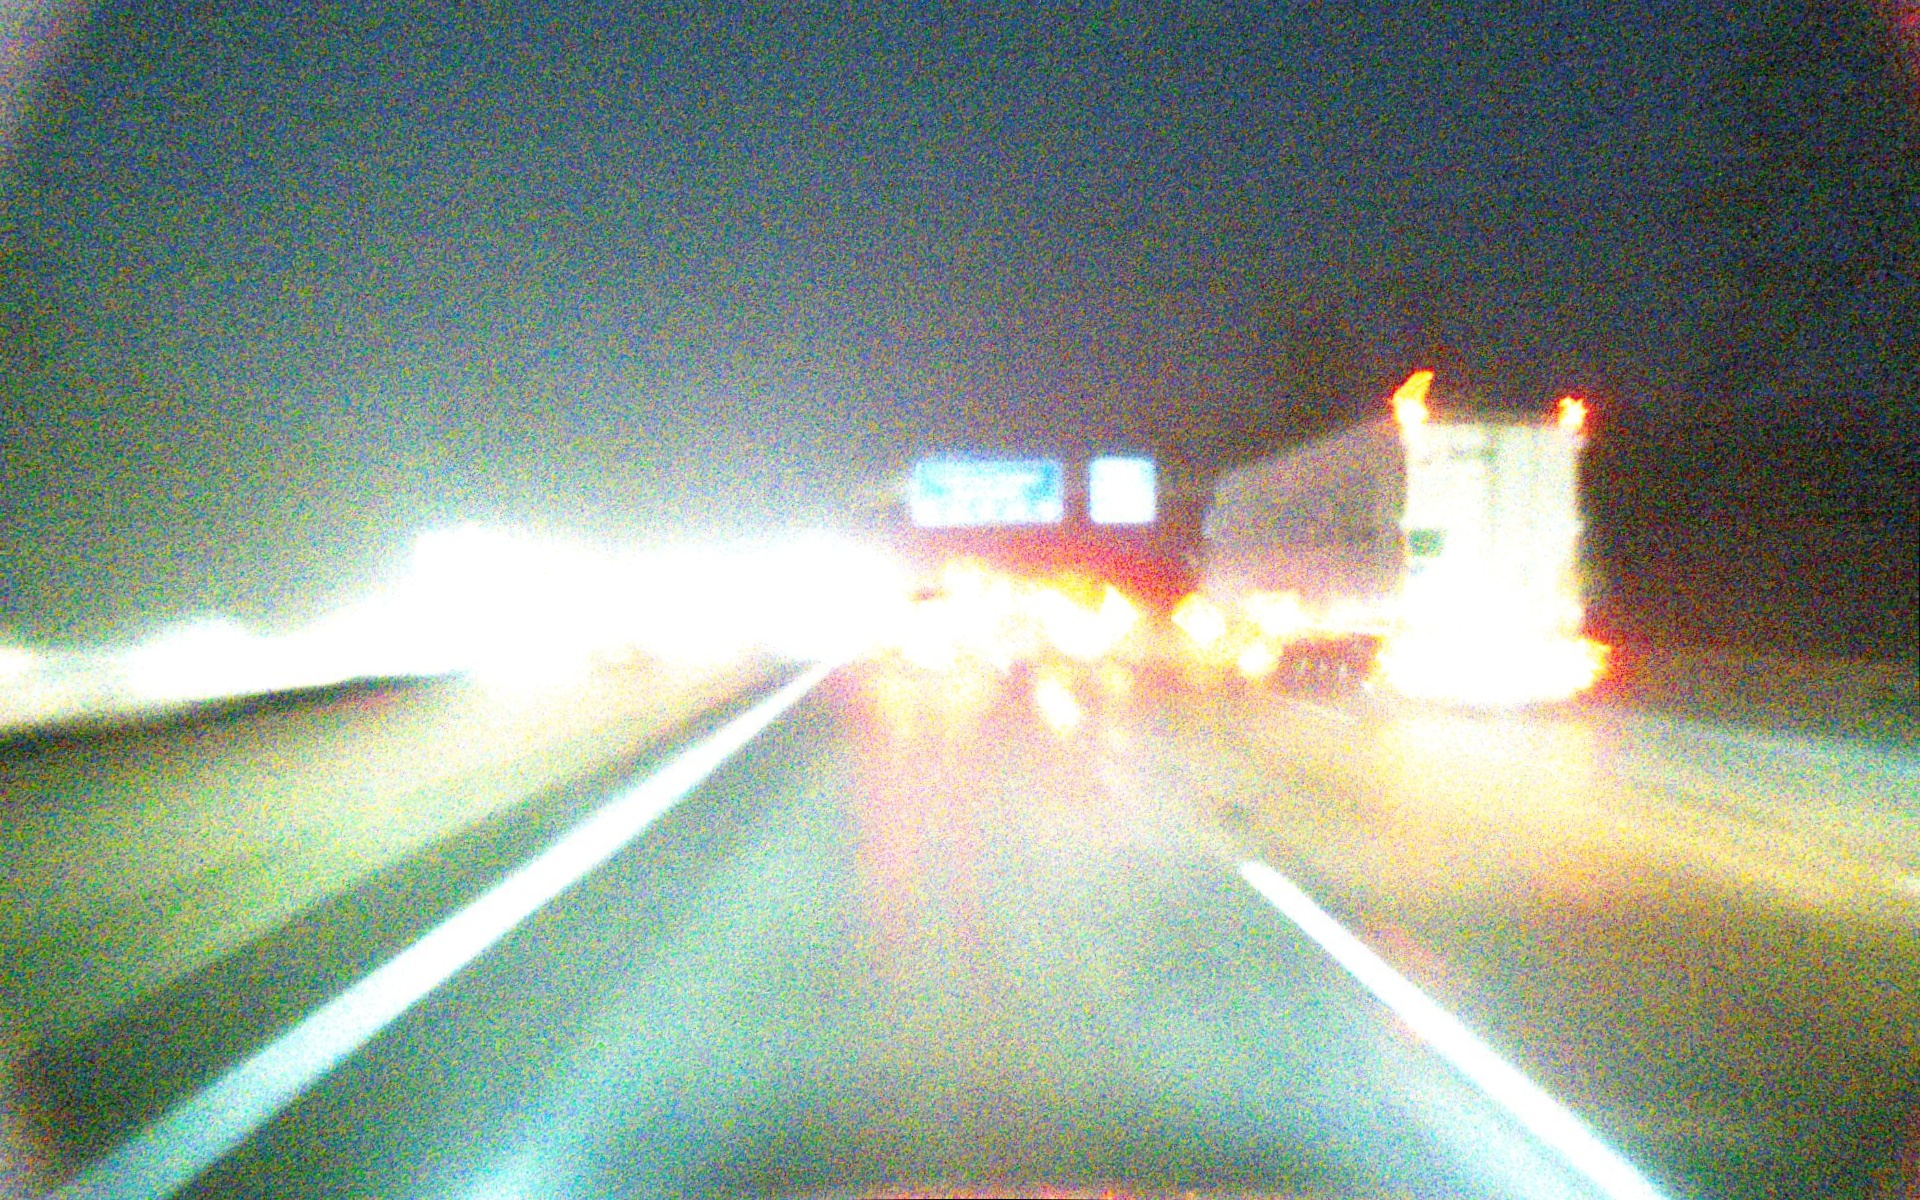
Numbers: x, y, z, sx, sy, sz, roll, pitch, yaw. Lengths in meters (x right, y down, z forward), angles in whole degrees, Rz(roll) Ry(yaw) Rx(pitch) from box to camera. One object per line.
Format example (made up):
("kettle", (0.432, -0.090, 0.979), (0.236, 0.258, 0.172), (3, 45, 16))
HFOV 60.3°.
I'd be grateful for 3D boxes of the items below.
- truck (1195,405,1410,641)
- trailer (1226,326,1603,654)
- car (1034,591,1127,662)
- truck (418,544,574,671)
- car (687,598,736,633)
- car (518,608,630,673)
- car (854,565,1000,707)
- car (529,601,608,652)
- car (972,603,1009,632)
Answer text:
("truck", (6.891, -1.432, 34.405), (2.747, 4.341, 7.446), (1, 0, -1))
("trailer", (6.962, -1.462, 27.823), (2.747, 4.286, 12.093), (1, 0, -1))
("car", (2.865, 0.610, 40.002), (1.846, 1.616, 3.999), (1, 0, -1))
("truck", (-17.758, 0.296, 64.266), (2.871, 4.402, 11.433), (-2, 0, -1))
("car", (-13.792, 0.831, 91.955), (2.020, 1.856, 4.879), (1, 0, -1))
("car", (-9.205, 0.934, 39.721), (1.718, 1.386, 4.116), (-1, 0, 0))
("car", (-0.752, 0.641, 33.861), (2.656, 2.578, 5.828), (-2, 1, -3))
("car", (-12.932, 0.843, 54.832), (1.719, 1.552, 4.114), (-1, 0, -2))
("car", (1.796, 1.024, 99.482), (2.093, 1.646, 4.000), (1, 0, 0))
